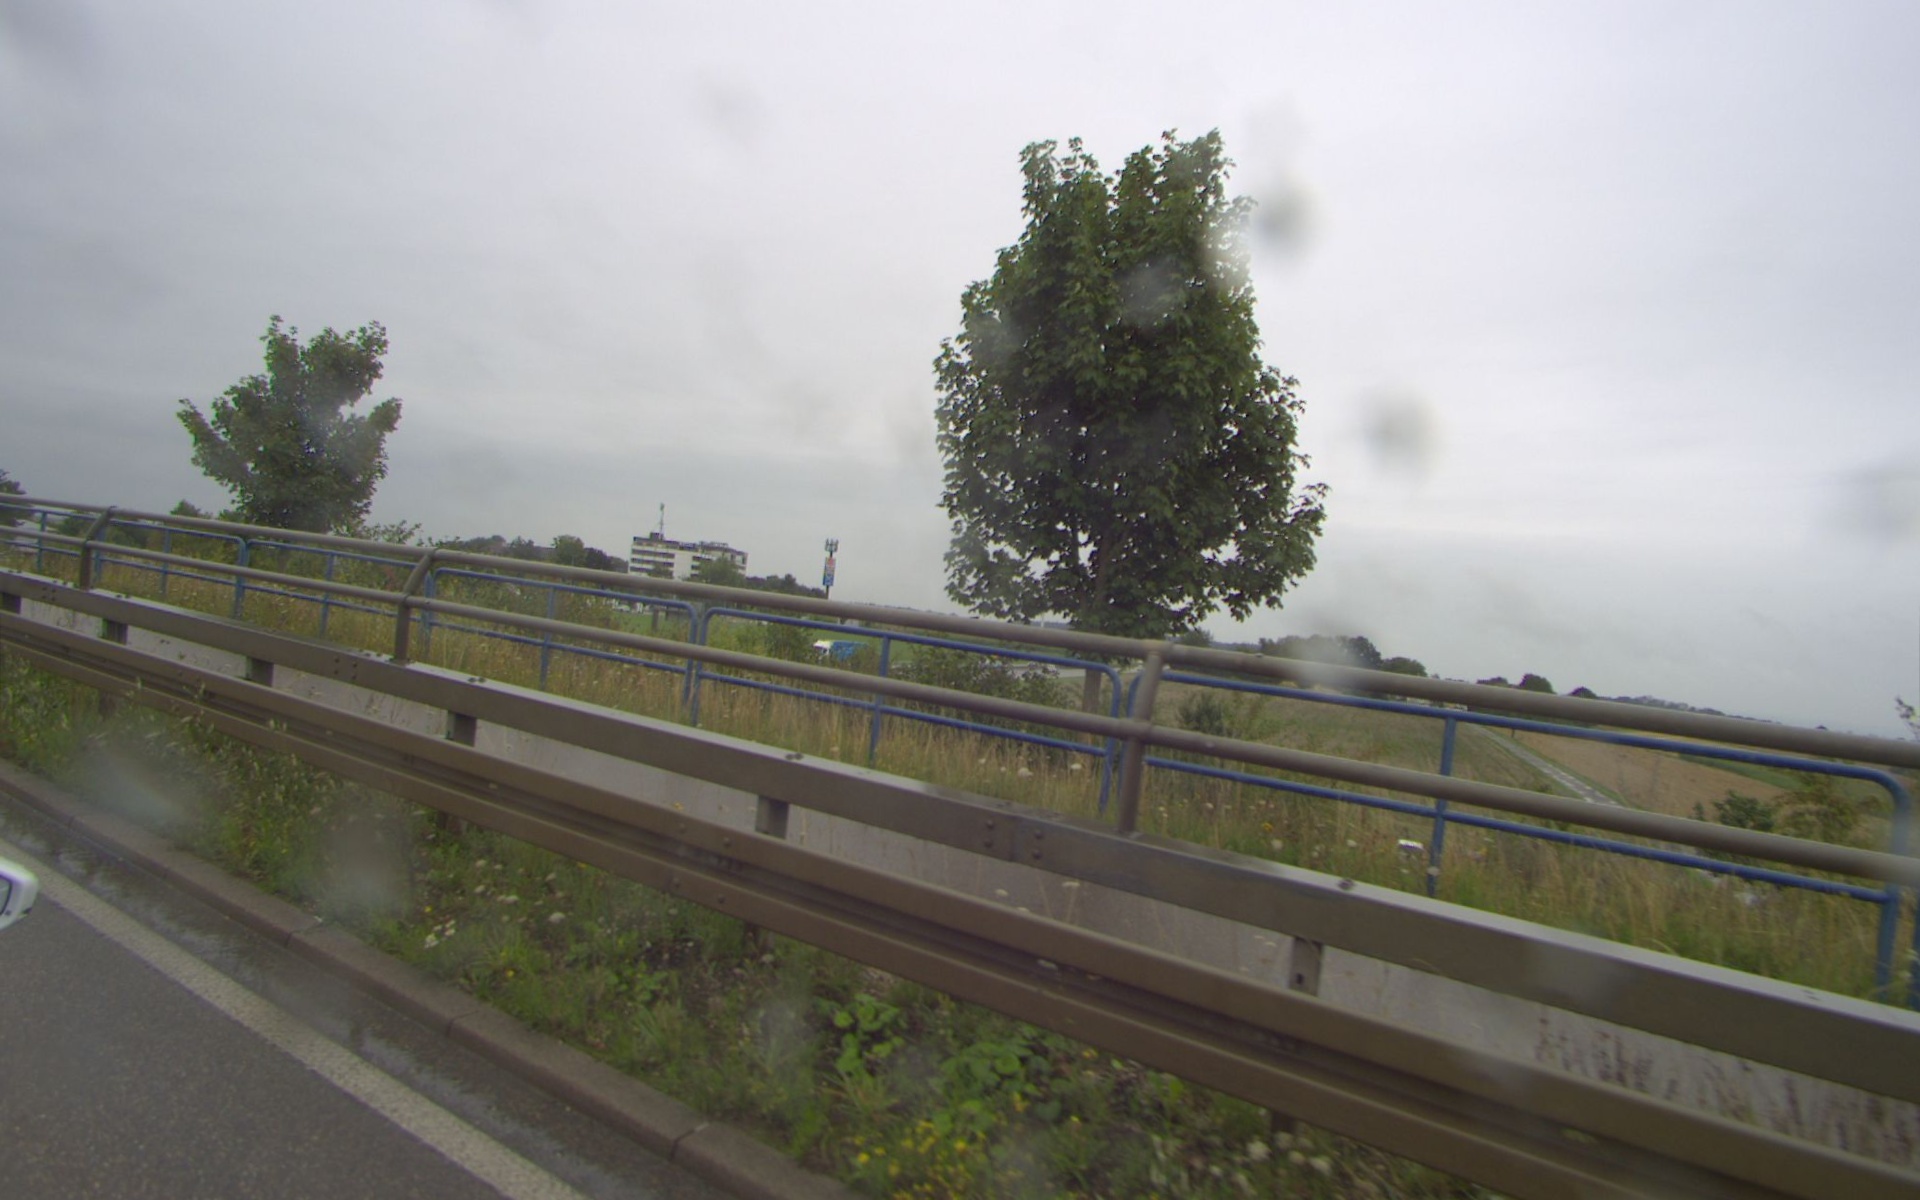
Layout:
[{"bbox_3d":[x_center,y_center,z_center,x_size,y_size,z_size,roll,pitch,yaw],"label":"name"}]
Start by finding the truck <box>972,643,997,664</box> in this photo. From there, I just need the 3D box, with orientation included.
[{"bbox_3d":[5.354,11.688,218.570,2.828,4.015,6.823,7,-1,20],"label":"truck"}]

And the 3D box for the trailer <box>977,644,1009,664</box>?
[{"bbox_3d":[7.487,12.102,224.745,2.828,4.015,14.029,7,-1,20],"label":"trailer"}]

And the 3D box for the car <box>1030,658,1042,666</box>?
[{"bbox_3d":[18.355,15.005,243.221,1.646,1.366,4.005,7,-3,21],"label":"car"}]
